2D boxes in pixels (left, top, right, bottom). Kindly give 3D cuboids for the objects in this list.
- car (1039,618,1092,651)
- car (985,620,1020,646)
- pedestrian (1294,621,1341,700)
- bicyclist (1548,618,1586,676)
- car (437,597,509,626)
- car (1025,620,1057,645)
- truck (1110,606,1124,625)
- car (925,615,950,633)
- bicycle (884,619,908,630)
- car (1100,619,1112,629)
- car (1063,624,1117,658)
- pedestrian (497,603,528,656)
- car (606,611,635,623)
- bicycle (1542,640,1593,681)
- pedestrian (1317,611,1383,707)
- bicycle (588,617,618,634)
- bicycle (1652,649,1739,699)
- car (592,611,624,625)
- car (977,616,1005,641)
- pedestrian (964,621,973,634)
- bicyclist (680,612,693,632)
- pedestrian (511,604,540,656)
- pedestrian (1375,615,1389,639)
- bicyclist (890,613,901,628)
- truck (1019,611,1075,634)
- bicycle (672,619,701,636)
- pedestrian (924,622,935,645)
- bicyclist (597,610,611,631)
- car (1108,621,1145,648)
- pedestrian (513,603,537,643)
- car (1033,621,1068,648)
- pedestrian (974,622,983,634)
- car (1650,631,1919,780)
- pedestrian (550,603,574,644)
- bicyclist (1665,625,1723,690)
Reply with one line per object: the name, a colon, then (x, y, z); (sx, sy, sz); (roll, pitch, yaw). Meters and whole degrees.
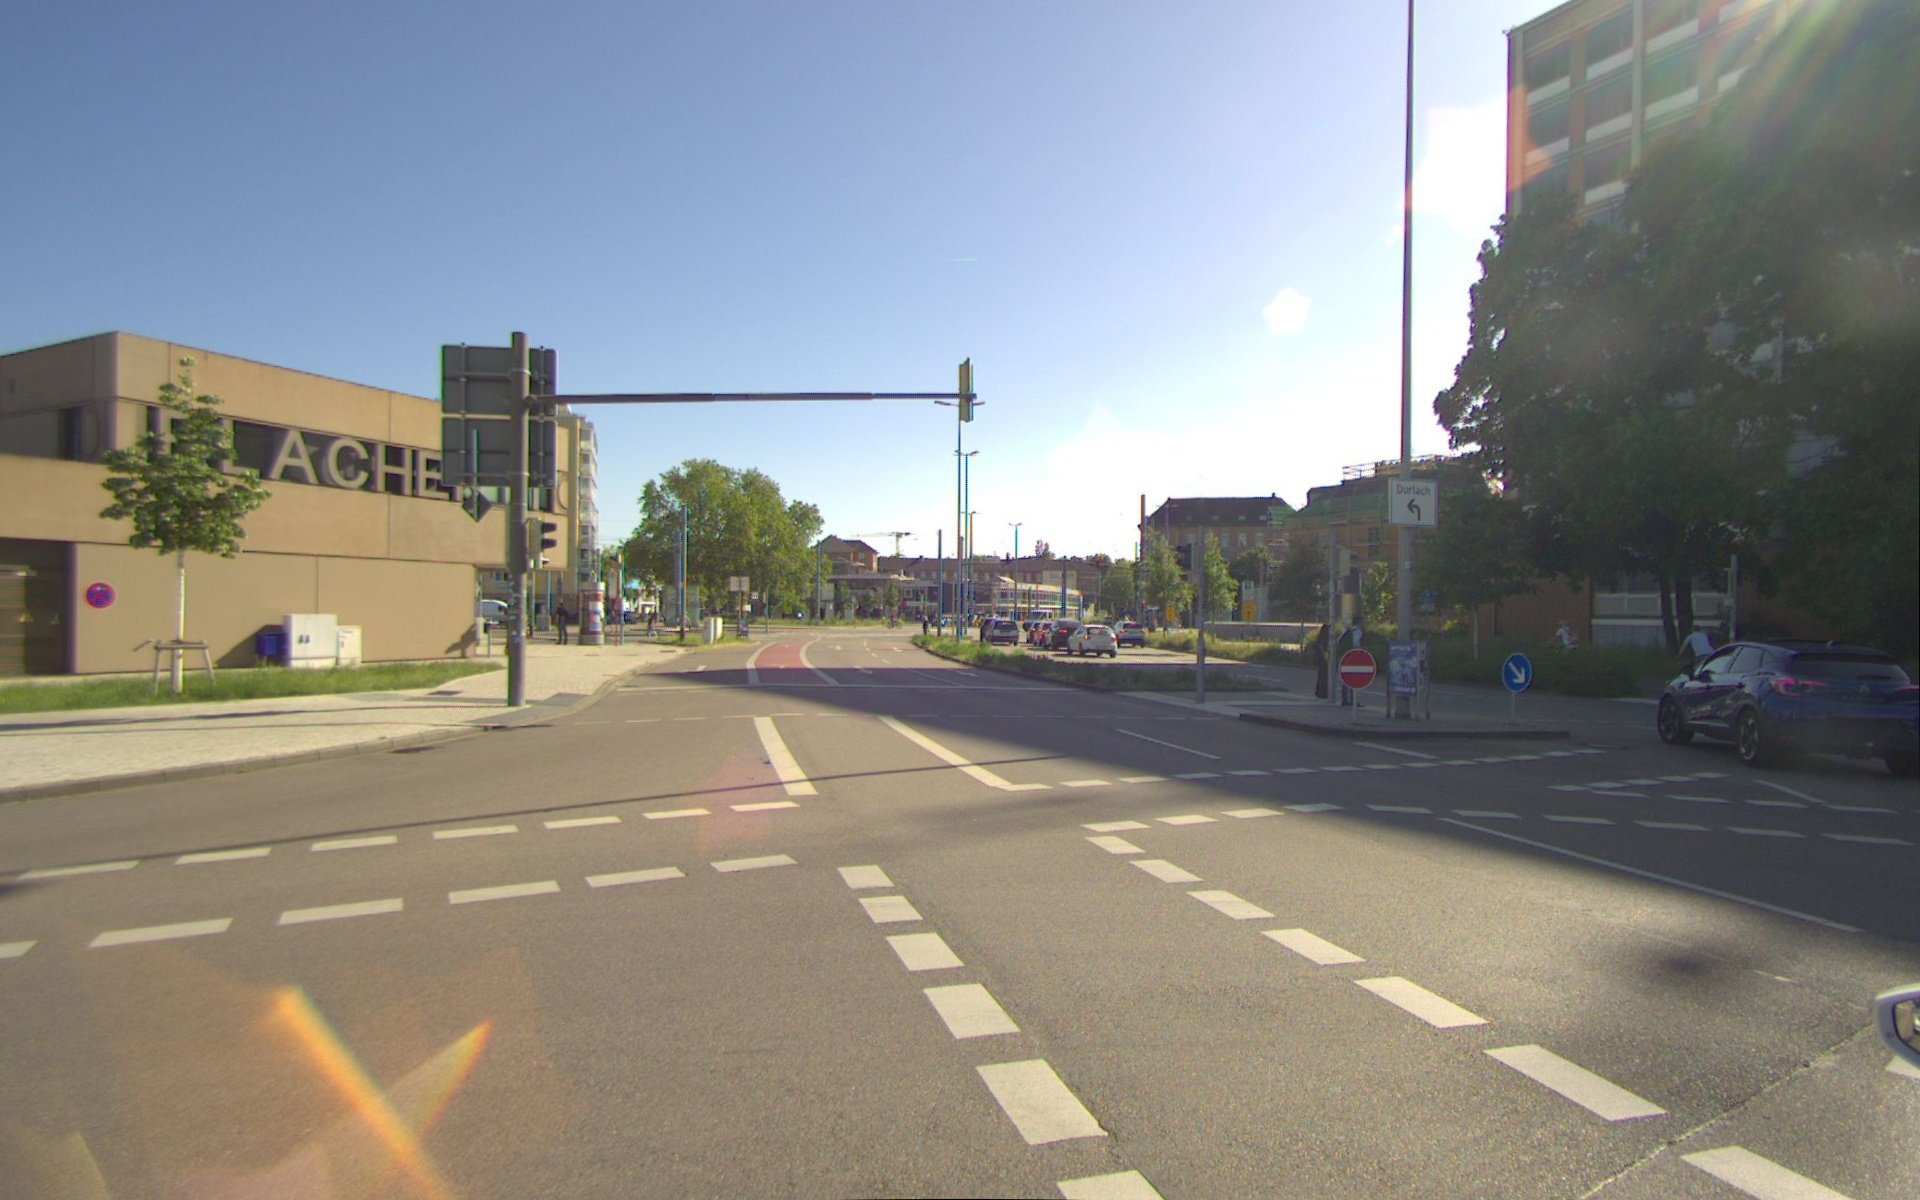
car: (5.585, 1.833, 53.745); (1.953, 1.645, 4.374); (1, -1, -6)
car: (2.469, 1.905, 59.108); (1.697, 1.461, 3.797); (1, -1, -2)
pedestrian: (7.613, 1.278, 21.407); (0.669, 1.634, 0.719); (1, -1, -6)
bicyclist: (19.110, 1.473, 31.644); (0.707, 1.786, 0.978); (1, 0, 9)
car: (-42.592, 1.045, 87.932); (5.419, 2.443, 1.992); (1, -1, -19)
car: (5.298, 2.112, 66.355); (1.697, 1.461, 3.798); (3, -1, -1)
truck: (32.419, 3.254, 207.761); (2.549, 3.724, 5.228); (2, 1, 11)
car: (-2.788, 3.006, 127.792); (1.960, 2.041, 4.000); (2, 1, 17)
bicycle: (-7.522, 2.916, 117.980); (2.614, 1.204, 0.943); (1, 2, -19)
car: (25.748, 4.221, 177.230); (1.750, 1.565, 3.641); (2, 1, 14)
car: (5.982, 1.865, 46.620); (1.665, 1.455, 3.733); (1, -1, -6)
pedestrian: (-15.004, 0.980, 33.693); (0.778, 1.745, 0.593); (-1, -3, 39)
car: (-40.656, 2.065, 120.149); (3.225, 1.334, 1.517); (1, 2, -22)
bicycle: (19.098, 1.879, 31.595); (0.733, 1.180, 1.871); (1, 0, 10)
pedestrian: (7.811, 1.159, 20.123); (1.086, 1.857, 0.748); (2, -1, -37)
bicycle: (-25.992, 1.866, 73.215); (1.919, 1.180, 0.643); (1, -1, -4)
bicycle: (18.976, 1.891, 25.971); (0.705, 1.180, 1.868); (1, 0, -7)
car: (-40.523, 2.061, 115.641); (3.392, 1.530, 1.685); (2, -1, -21)
car: (2.070, 1.852, 65.937); (1.696, 1.461, 3.911); (3, -1, 3)
pedestrian: (1.042, 3.306, 120.285); (0.855, 1.427, 0.688); (1, 2, -31)
bicyclist: (-20.299, 1.665, 74.660); (0.761, 1.463, 0.643); (1, -1, -3)
pedestrian: (-15.054, 1.044, 34.835); (0.631, 1.745, 0.749); (1, -3, -1)
pedestrian: (31.901, 2.022, 75.958); (0.779, 1.776, 0.534); (1, 2, -28)
bicyclist: (-7.604, 2.399, 117.927); (1.050, 1.606, 0.943); (1, 2, -19)
truck: (9.254, 2.384, 105.991); (2.190, 2.344, 6.846); (0, -1, 42)
bicycle: (-20.310, 2.032, 74.646); (1.919, 1.180, 0.643); (1, -1, -4)
pedestrian: (-2.229, 2.412, 72.588); (0.566, 1.633, 0.565); (1, 2, -29)
bicyclist: (-25.961, 1.495, 73.222); (0.762, 1.463, 0.643); (1, -1, -4)
car: (10.923, 2.251, 66.066); (1.845, 1.639, 3.626); (2, -1, 1)
pedestrian: (-19.495, 1.042, 44.978); (0.778, 1.745, 0.644); (-1, -3, 39)
car: (5.388, 2.010, 59.905); (1.644, 1.461, 3.721); (3, -1, -1)
pedestrian: (2.260, 3.357, 120.911); (0.855, 1.427, 0.688); (1, 2, -31)
car: (10.953, 1.264, 13.420); (1.845, 1.639, 3.799); (1, -1, 18)
pedestrian: (-17.744, 1.057, 44.781); (0.778, 1.765, 0.644); (2, -2, 39)
bicyclist: (18.971, 1.472, 25.978); (0.709, 1.638, 0.976); (1, 0, -8)
